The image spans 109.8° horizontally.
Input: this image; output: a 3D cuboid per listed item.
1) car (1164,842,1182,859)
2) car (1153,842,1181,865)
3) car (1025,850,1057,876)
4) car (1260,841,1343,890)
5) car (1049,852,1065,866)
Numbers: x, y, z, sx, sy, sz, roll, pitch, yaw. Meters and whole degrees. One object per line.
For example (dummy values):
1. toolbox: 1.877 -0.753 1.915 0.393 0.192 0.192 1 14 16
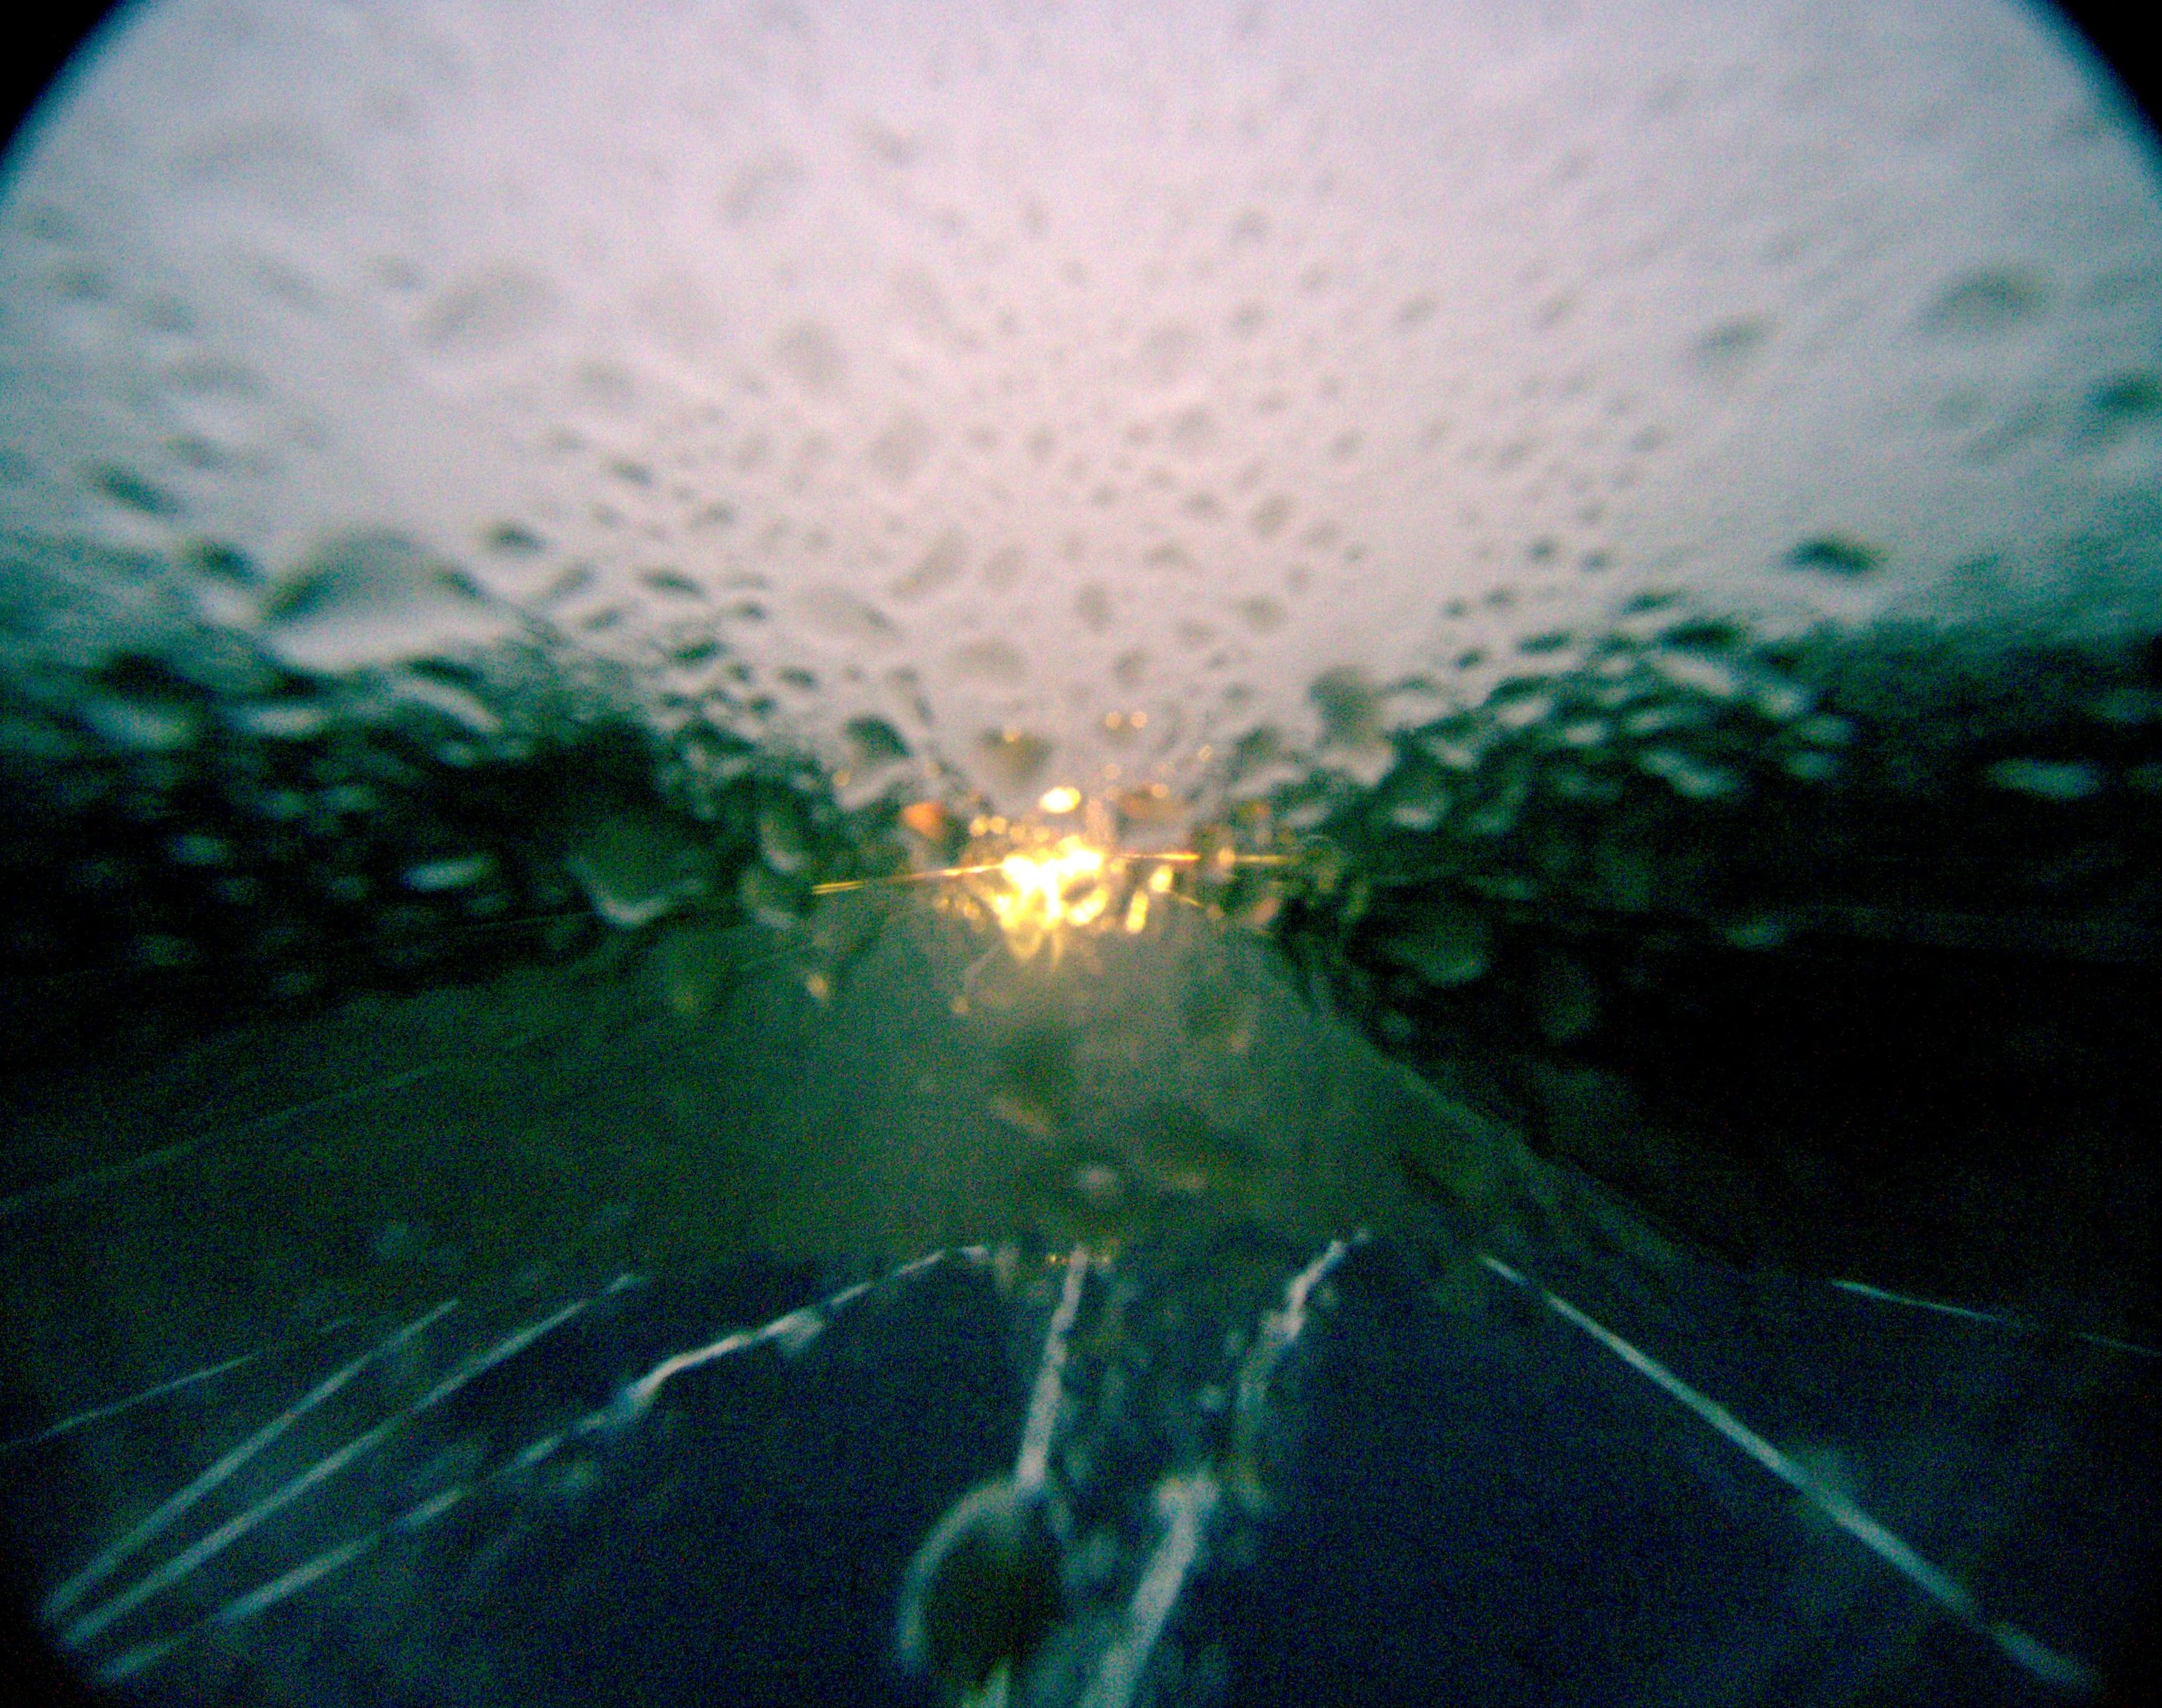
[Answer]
1. car: 13.075 -0.510 108.449 1.998 2.199 4.921 -4 1 1
2. car: 8.182 -0.103 72.692 1.999 2.002 3.999 -4 1 -1
3. car: -2.569 0.553 49.330 1.791 1.508 3.811 -2 0 1
4. car: 8.004 0.368 28.000 1.689 1.524 4.576 -4 1 1
5. car: -2.753 0.599 88.942 1.598 1.482 3.594 -4 0 1
